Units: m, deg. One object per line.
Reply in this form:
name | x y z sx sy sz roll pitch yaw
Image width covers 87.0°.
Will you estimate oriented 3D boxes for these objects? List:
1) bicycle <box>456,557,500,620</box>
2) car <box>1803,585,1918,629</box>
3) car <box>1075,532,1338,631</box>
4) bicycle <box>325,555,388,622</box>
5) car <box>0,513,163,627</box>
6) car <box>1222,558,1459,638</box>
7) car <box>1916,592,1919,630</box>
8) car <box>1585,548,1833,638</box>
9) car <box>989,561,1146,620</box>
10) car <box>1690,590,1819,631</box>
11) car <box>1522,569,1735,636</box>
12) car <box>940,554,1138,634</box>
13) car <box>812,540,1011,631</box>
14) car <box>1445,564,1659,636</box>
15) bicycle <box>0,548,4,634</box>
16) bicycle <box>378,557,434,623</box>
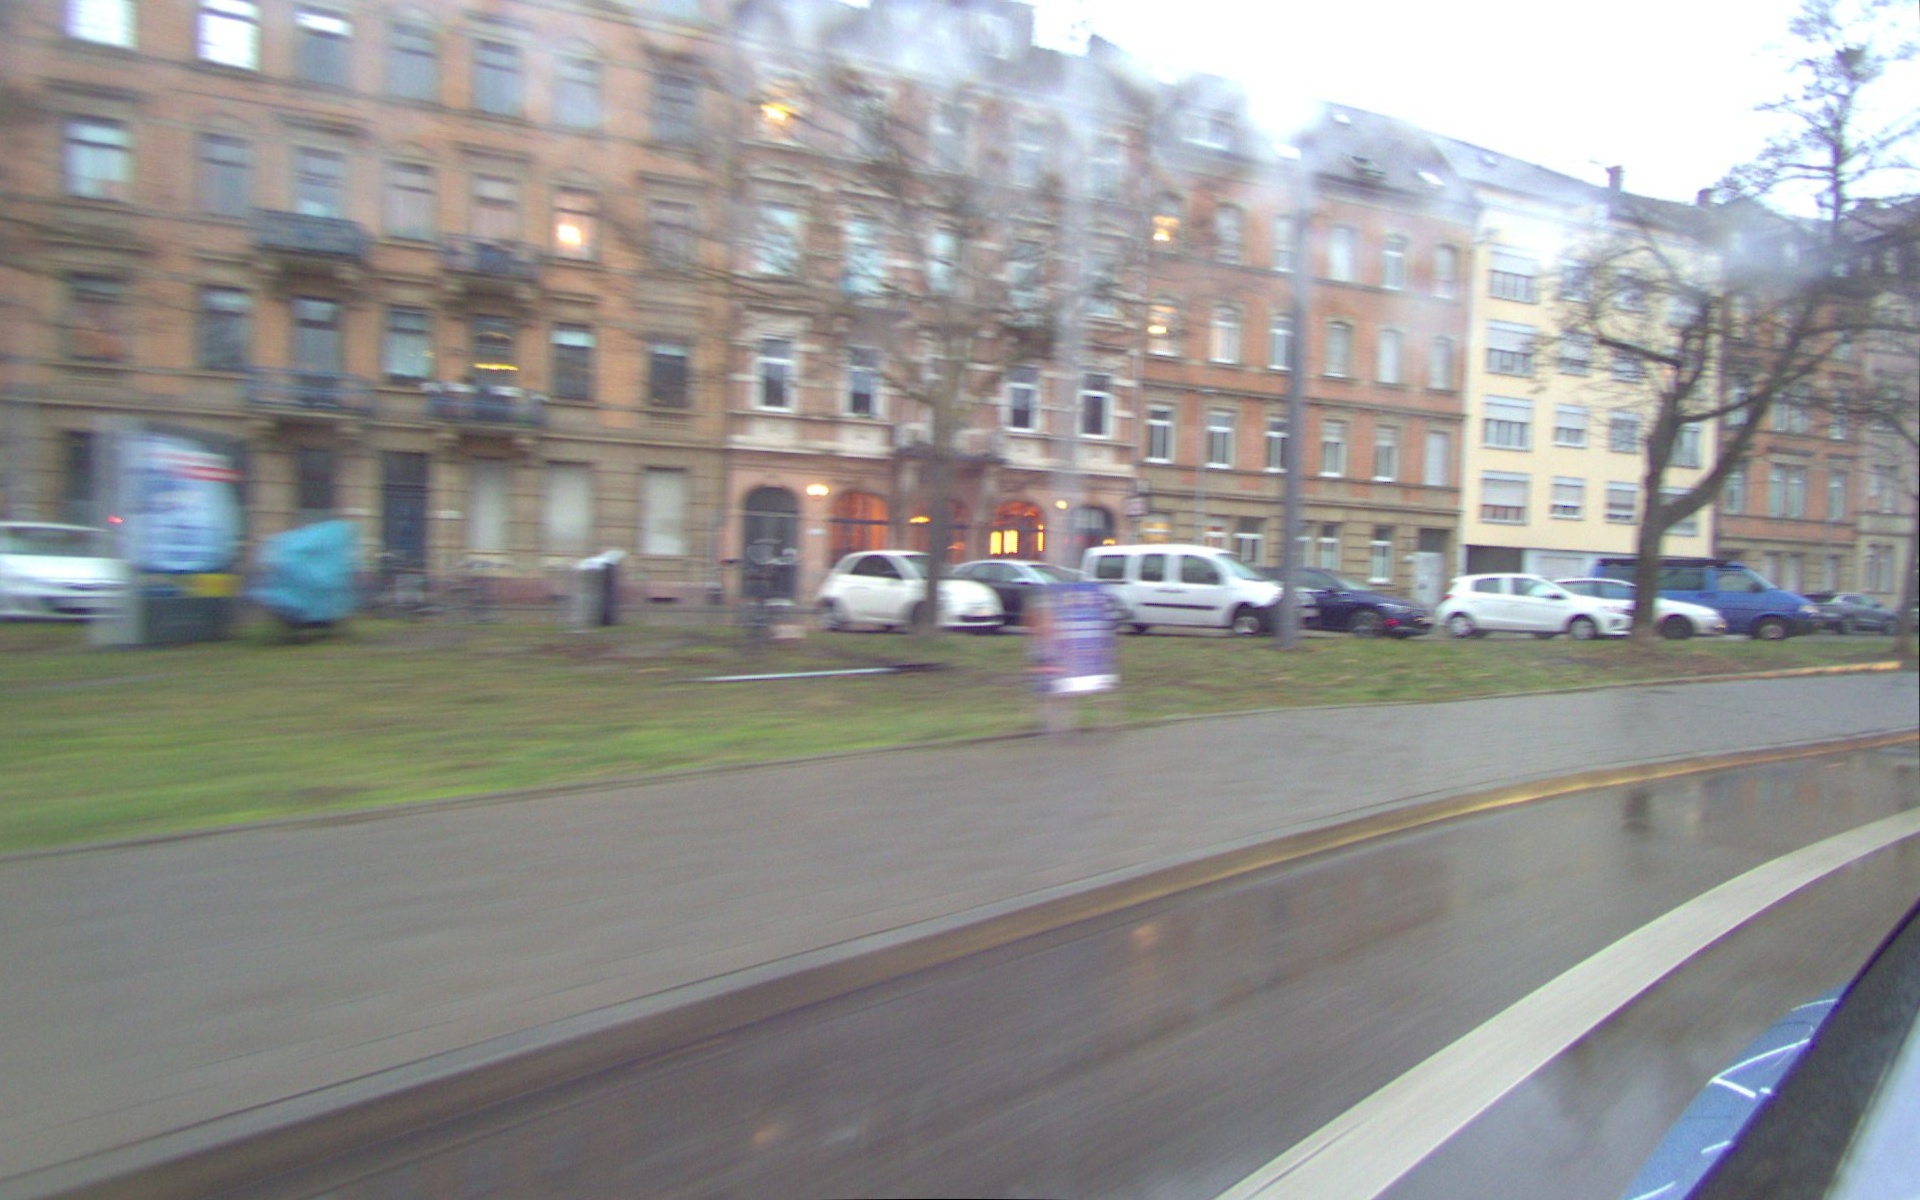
bicycle | -8.135 -0.224 17.105 0.613 0.978 2.175 1 2 -25
car | 34.812 0.263 39.124 3.790 1.562 1.477 1 2 -16
car | 4.689 -0.426 19.686 4.645 1.611 1.752 5 3 40
bicycle | -9.623 -0.187 16.203 0.613 0.978 2.174 3 -1 -25
car | -12.542 -0.435 13.786 3.836 1.353 1.676 3 2 36
car | 7.553 -0.074 20.308 4.051 1.250 1.743 6 3 42
car | 40.863 0.446 40.731 3.916 1.562 1.698 0 0 -16
car | 17.979 -0.180 24.575 4.692 2.008 1.776 1 0 35
car | 2.958 -0.230 27.937 3.965 1.520 1.740 1 -1 -22
car | 29.568 0.379 37.687 4.089 1.497 1.755 0 -1 -18
car | 15.312 0.068 23.347 3.973 1.433 1.621 0 -1 35
car | 1.464 -0.146 19.223 3.416 1.368 1.641 2 1 39
car | -0.926 -0.243 17.999 3.454 1.461 1.589 1 0 43
car | 12.972 0.014 22.316 1.733 1.450 3.764 0 -1 -45
bicycle | -11.368 -0.125 10.931 1.621 0.948 0.514 2 1 2
bicycle | -9.008 -0.158 16.514 0.613 0.978 2.174 3 -1 -25
